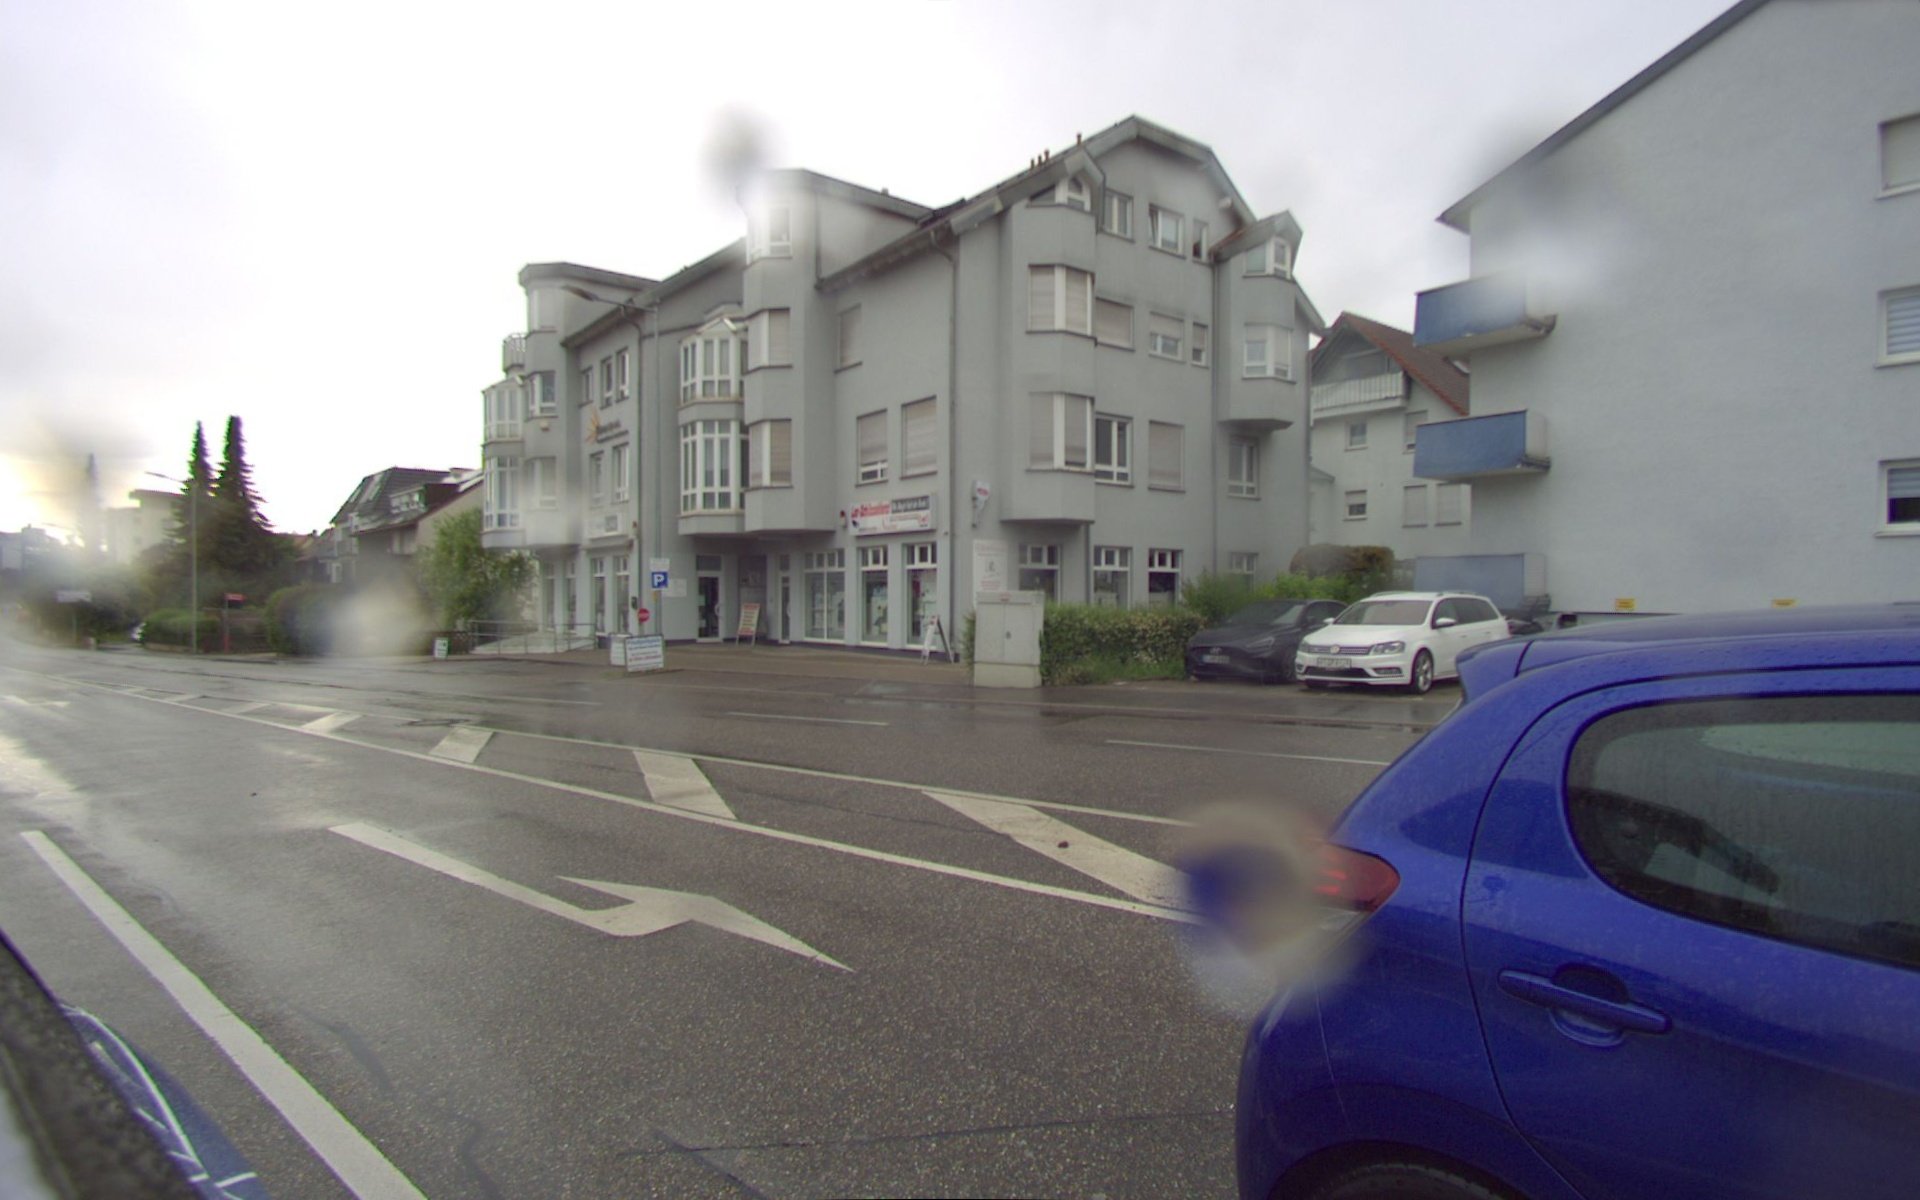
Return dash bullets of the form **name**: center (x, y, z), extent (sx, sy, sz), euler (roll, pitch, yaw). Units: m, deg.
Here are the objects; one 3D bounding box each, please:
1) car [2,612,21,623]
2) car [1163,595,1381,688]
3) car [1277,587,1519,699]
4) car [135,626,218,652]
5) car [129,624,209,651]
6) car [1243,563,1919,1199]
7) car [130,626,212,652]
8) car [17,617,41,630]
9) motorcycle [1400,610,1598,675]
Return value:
- **car**: center (-148.763, 2.774, 158.773), extent (1.824, 1.777, 4.129), euler (0, -1, -39)
- **car**: center (5.474, 0.659, 17.549), extent (3.940, 1.421, 1.906), euler (0, -1, -43)
- **car**: center (6.850, 0.592, 15.630), extent (4.169, 1.485, 1.906), euler (0, -1, -43)
- **car**: center (-49.622, 2.439, 64.133), extent (3.978, 1.453, 1.814), euler (-2, 0, -44)
- **car**: center (-53.151, 2.501, 68.005), extent (4.058, 1.557, 2.002), euler (-2, 0, -44)
- **car**: center (2.236, 0.636, 1.244), extent (3.269, 1.421, 1.562), euler (-2, 0, 42)
- **car**: center (-51.356, 2.509, 65.926), extent (4.096, 1.453, 1.892), euler (-2, 0, -42)
- **car**: center (-124.463, 3.160, 135.318), extent (1.968, 1.628, 4.008), euler (0, -1, -38)
- **motorcycle**: center (9.772, 0.781, 18.537), extent (3.112, 1.108, 0.869), euler (-2, -1, 25)
